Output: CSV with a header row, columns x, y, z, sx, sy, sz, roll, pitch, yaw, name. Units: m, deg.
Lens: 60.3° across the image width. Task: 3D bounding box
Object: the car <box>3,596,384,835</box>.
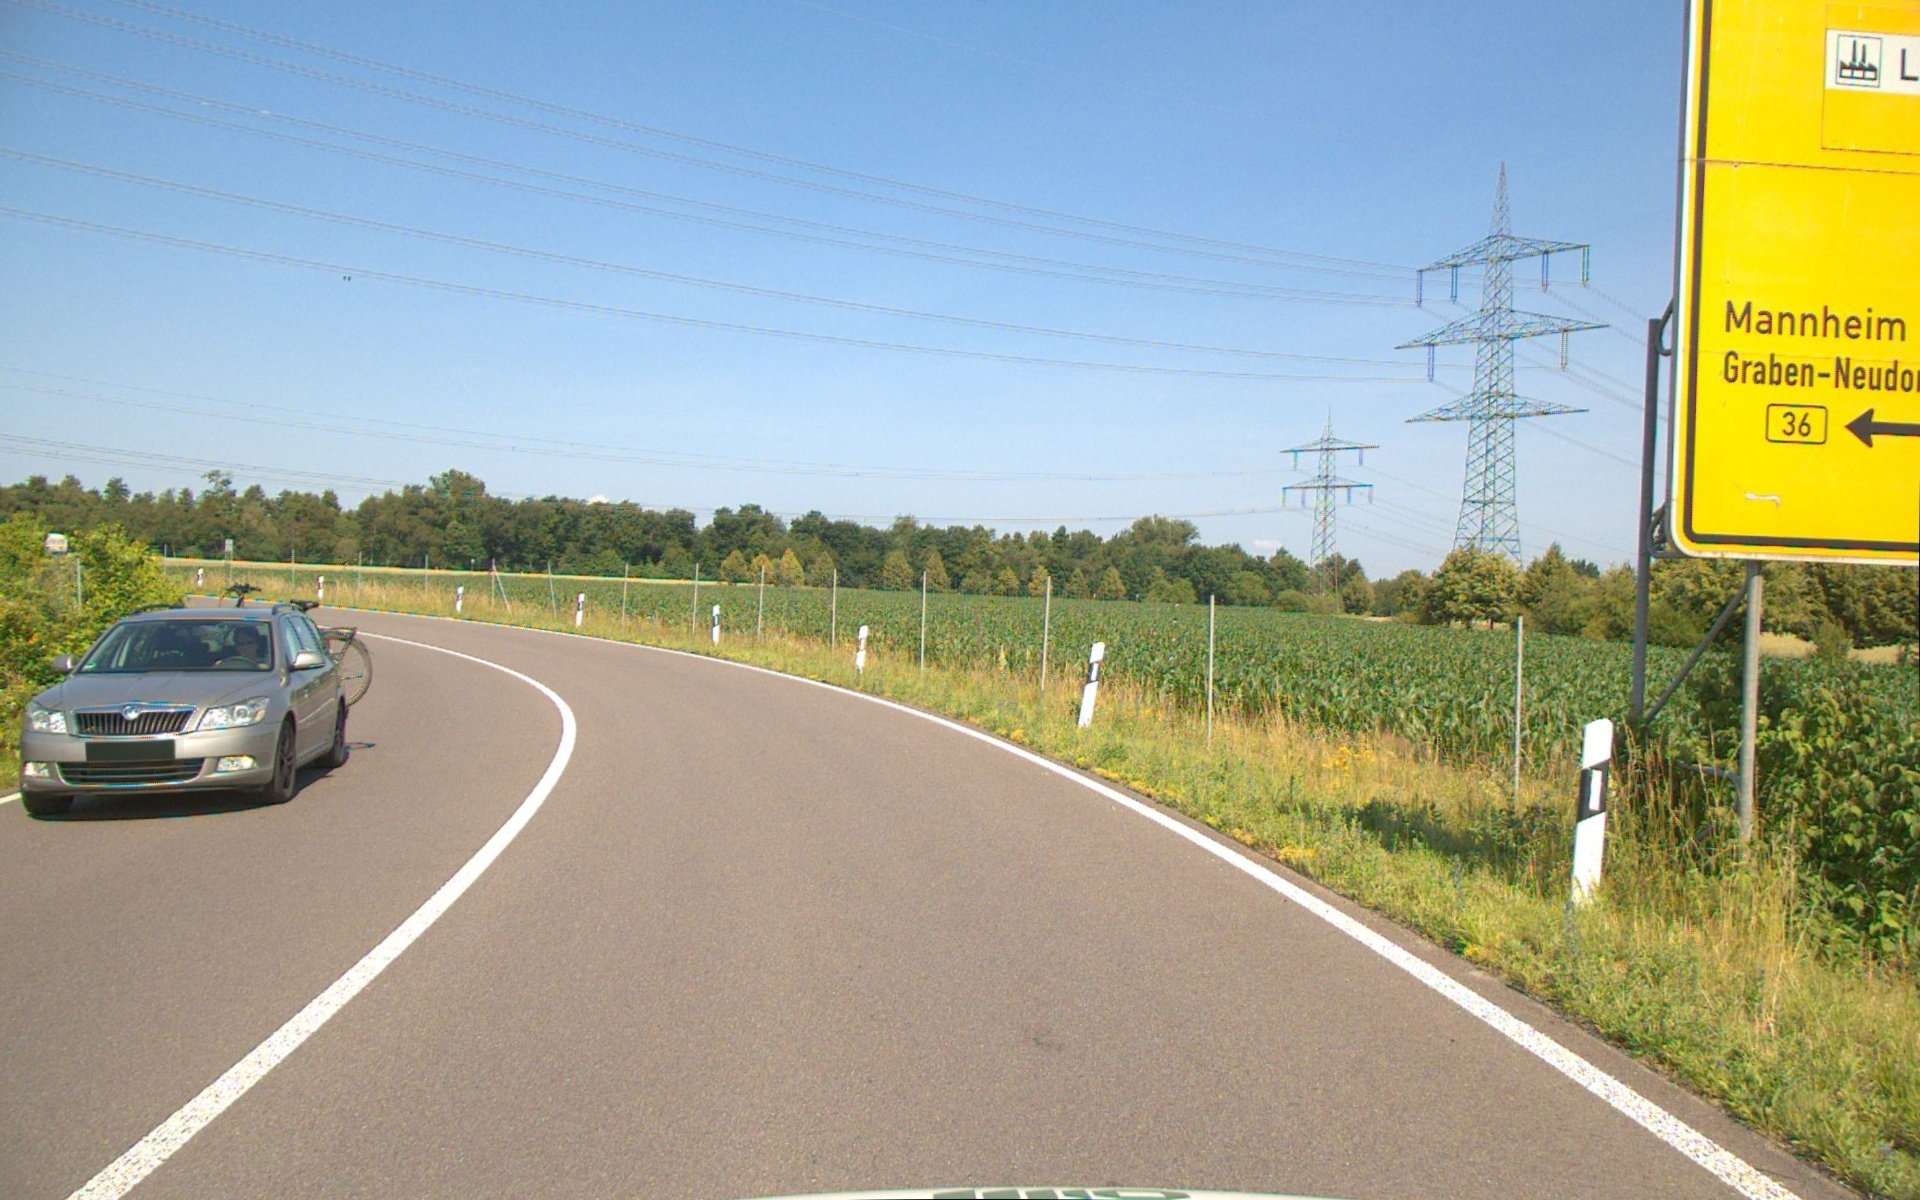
x,y,z,sx,sy,sz,roll,pitch,yaw,name
-6.045,0.760,13.721,1.834,1.506,5.118,-2,1,-13,car
